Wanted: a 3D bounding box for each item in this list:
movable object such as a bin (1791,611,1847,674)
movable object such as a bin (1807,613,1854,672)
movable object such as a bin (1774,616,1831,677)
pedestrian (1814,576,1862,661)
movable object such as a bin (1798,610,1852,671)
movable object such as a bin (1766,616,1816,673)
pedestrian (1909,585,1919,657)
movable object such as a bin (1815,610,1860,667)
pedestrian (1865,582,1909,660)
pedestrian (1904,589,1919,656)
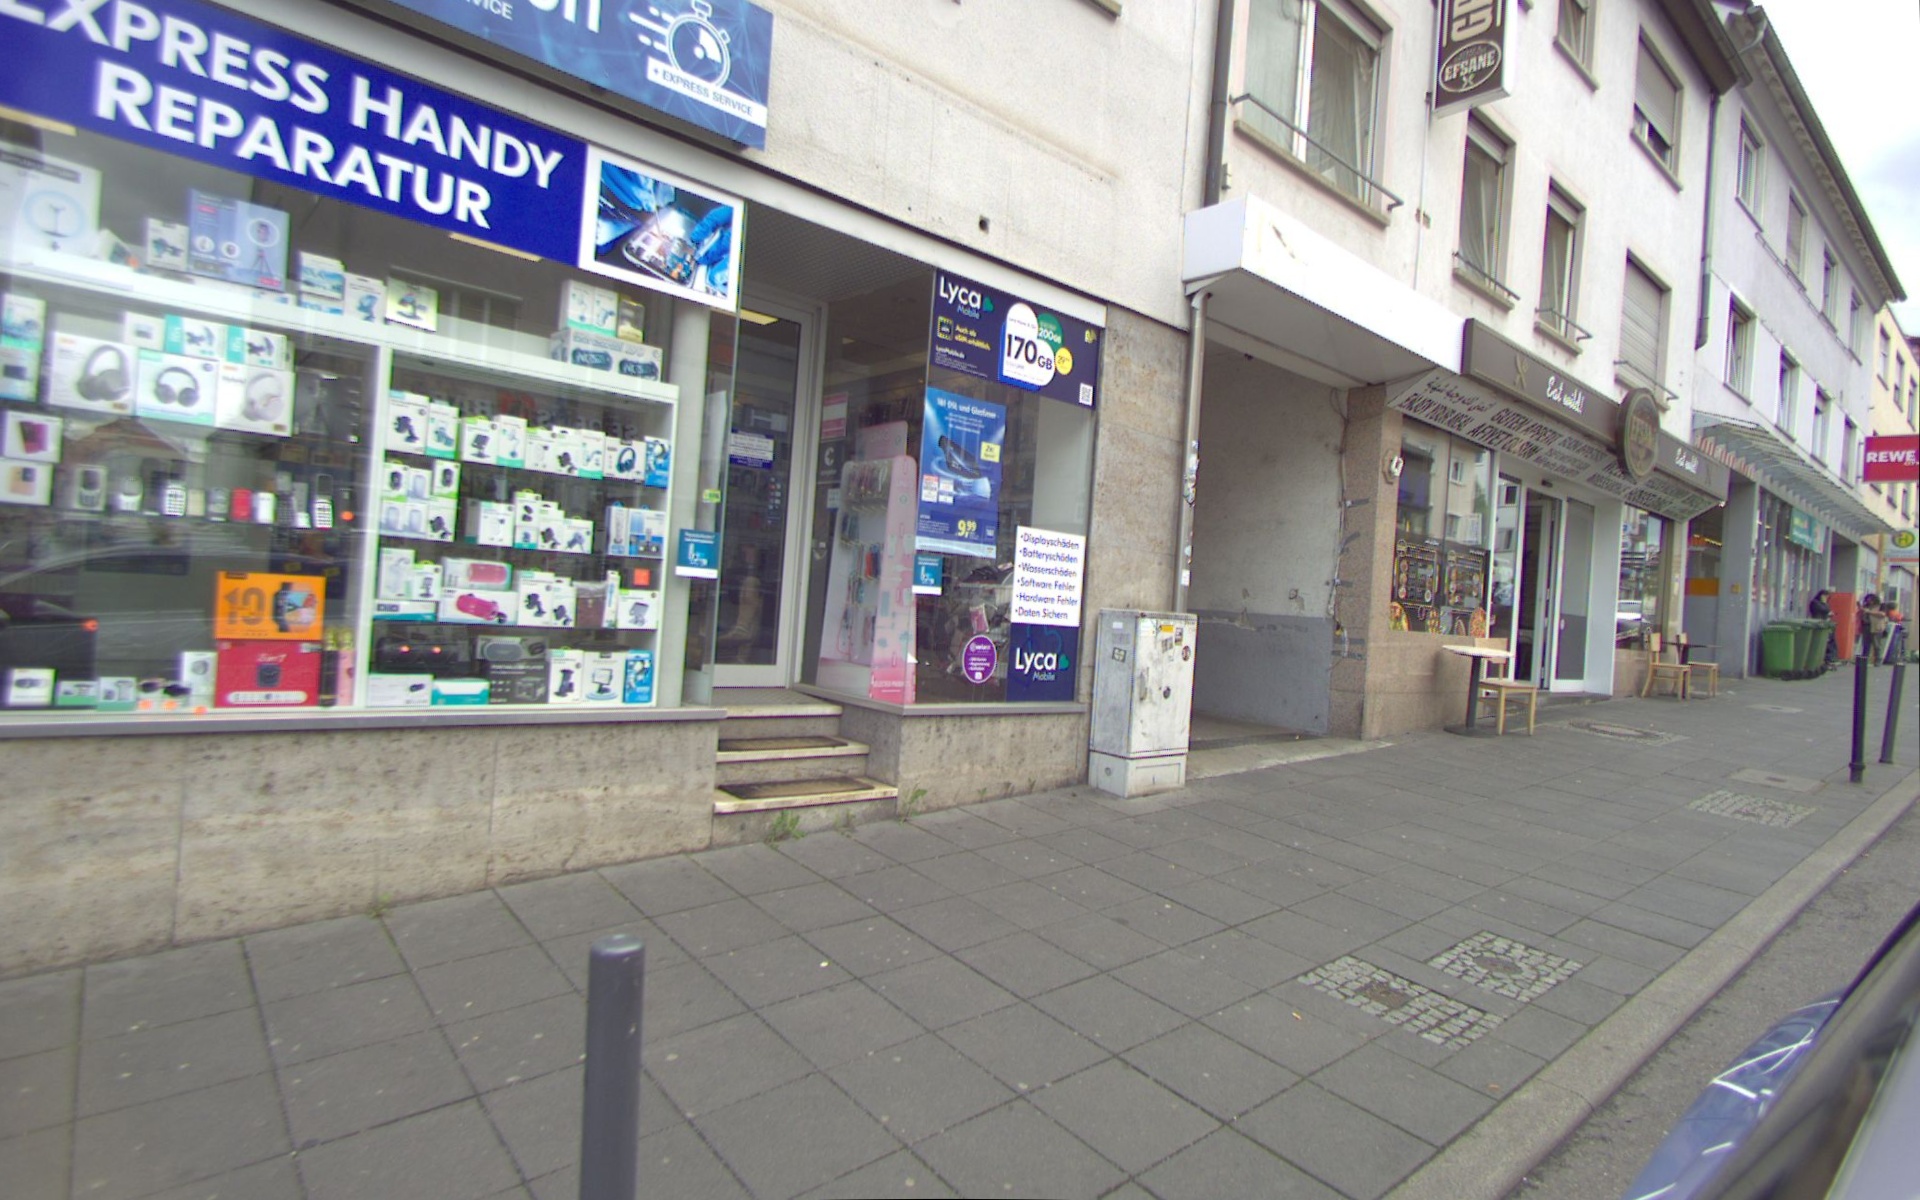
[{"bbox_3d":[15.784,0.775,18.595,0.661,1.094,0.652,1,2,-40],"label":"movable object such as a bin"},{"bbox_3d":[16.772,0.809,19.493,0.564,1.072,0.569,1,2,-40],"label":"movable object such as a bin"},{"bbox_3d":[15.191,0.825,18.257,0.550,1.043,0.670,1,2,-40],"label":"movable object such as a bin"},{"bbox_3d":[18.342,0.368,21.162,0.621,1.747,0.601,0,0,27],"label":"pedestrian"},{"bbox_3d":[16.302,0.747,19.071,0.648,1.094,0.652,1,2,-40],"label":"movable object such as a bin"},{"bbox_3d":[14.715,0.778,17.927,0.489,0.968,0.568,1,2,-40],"label":"movable object such as a bin"},{"bbox_3d":[24.668,0.535,25.702,0.619,1.845,0.604,0,0,15],"label":"pedestrian"},{"bbox_3d":[17.216,0.739,19.858,0.549,1.070,0.560,1,2,-40],"label":"movable object such as a bin"},{"bbox_3d":[21.534,0.476,23.514,0.626,1.746,0.597,5,4,44],"label":"pedestrian"},{"bbox_3d":[25.185,0.580,26.414,0.599,1.747,0.623,0,0,20],"label":"pedestrian"}]
